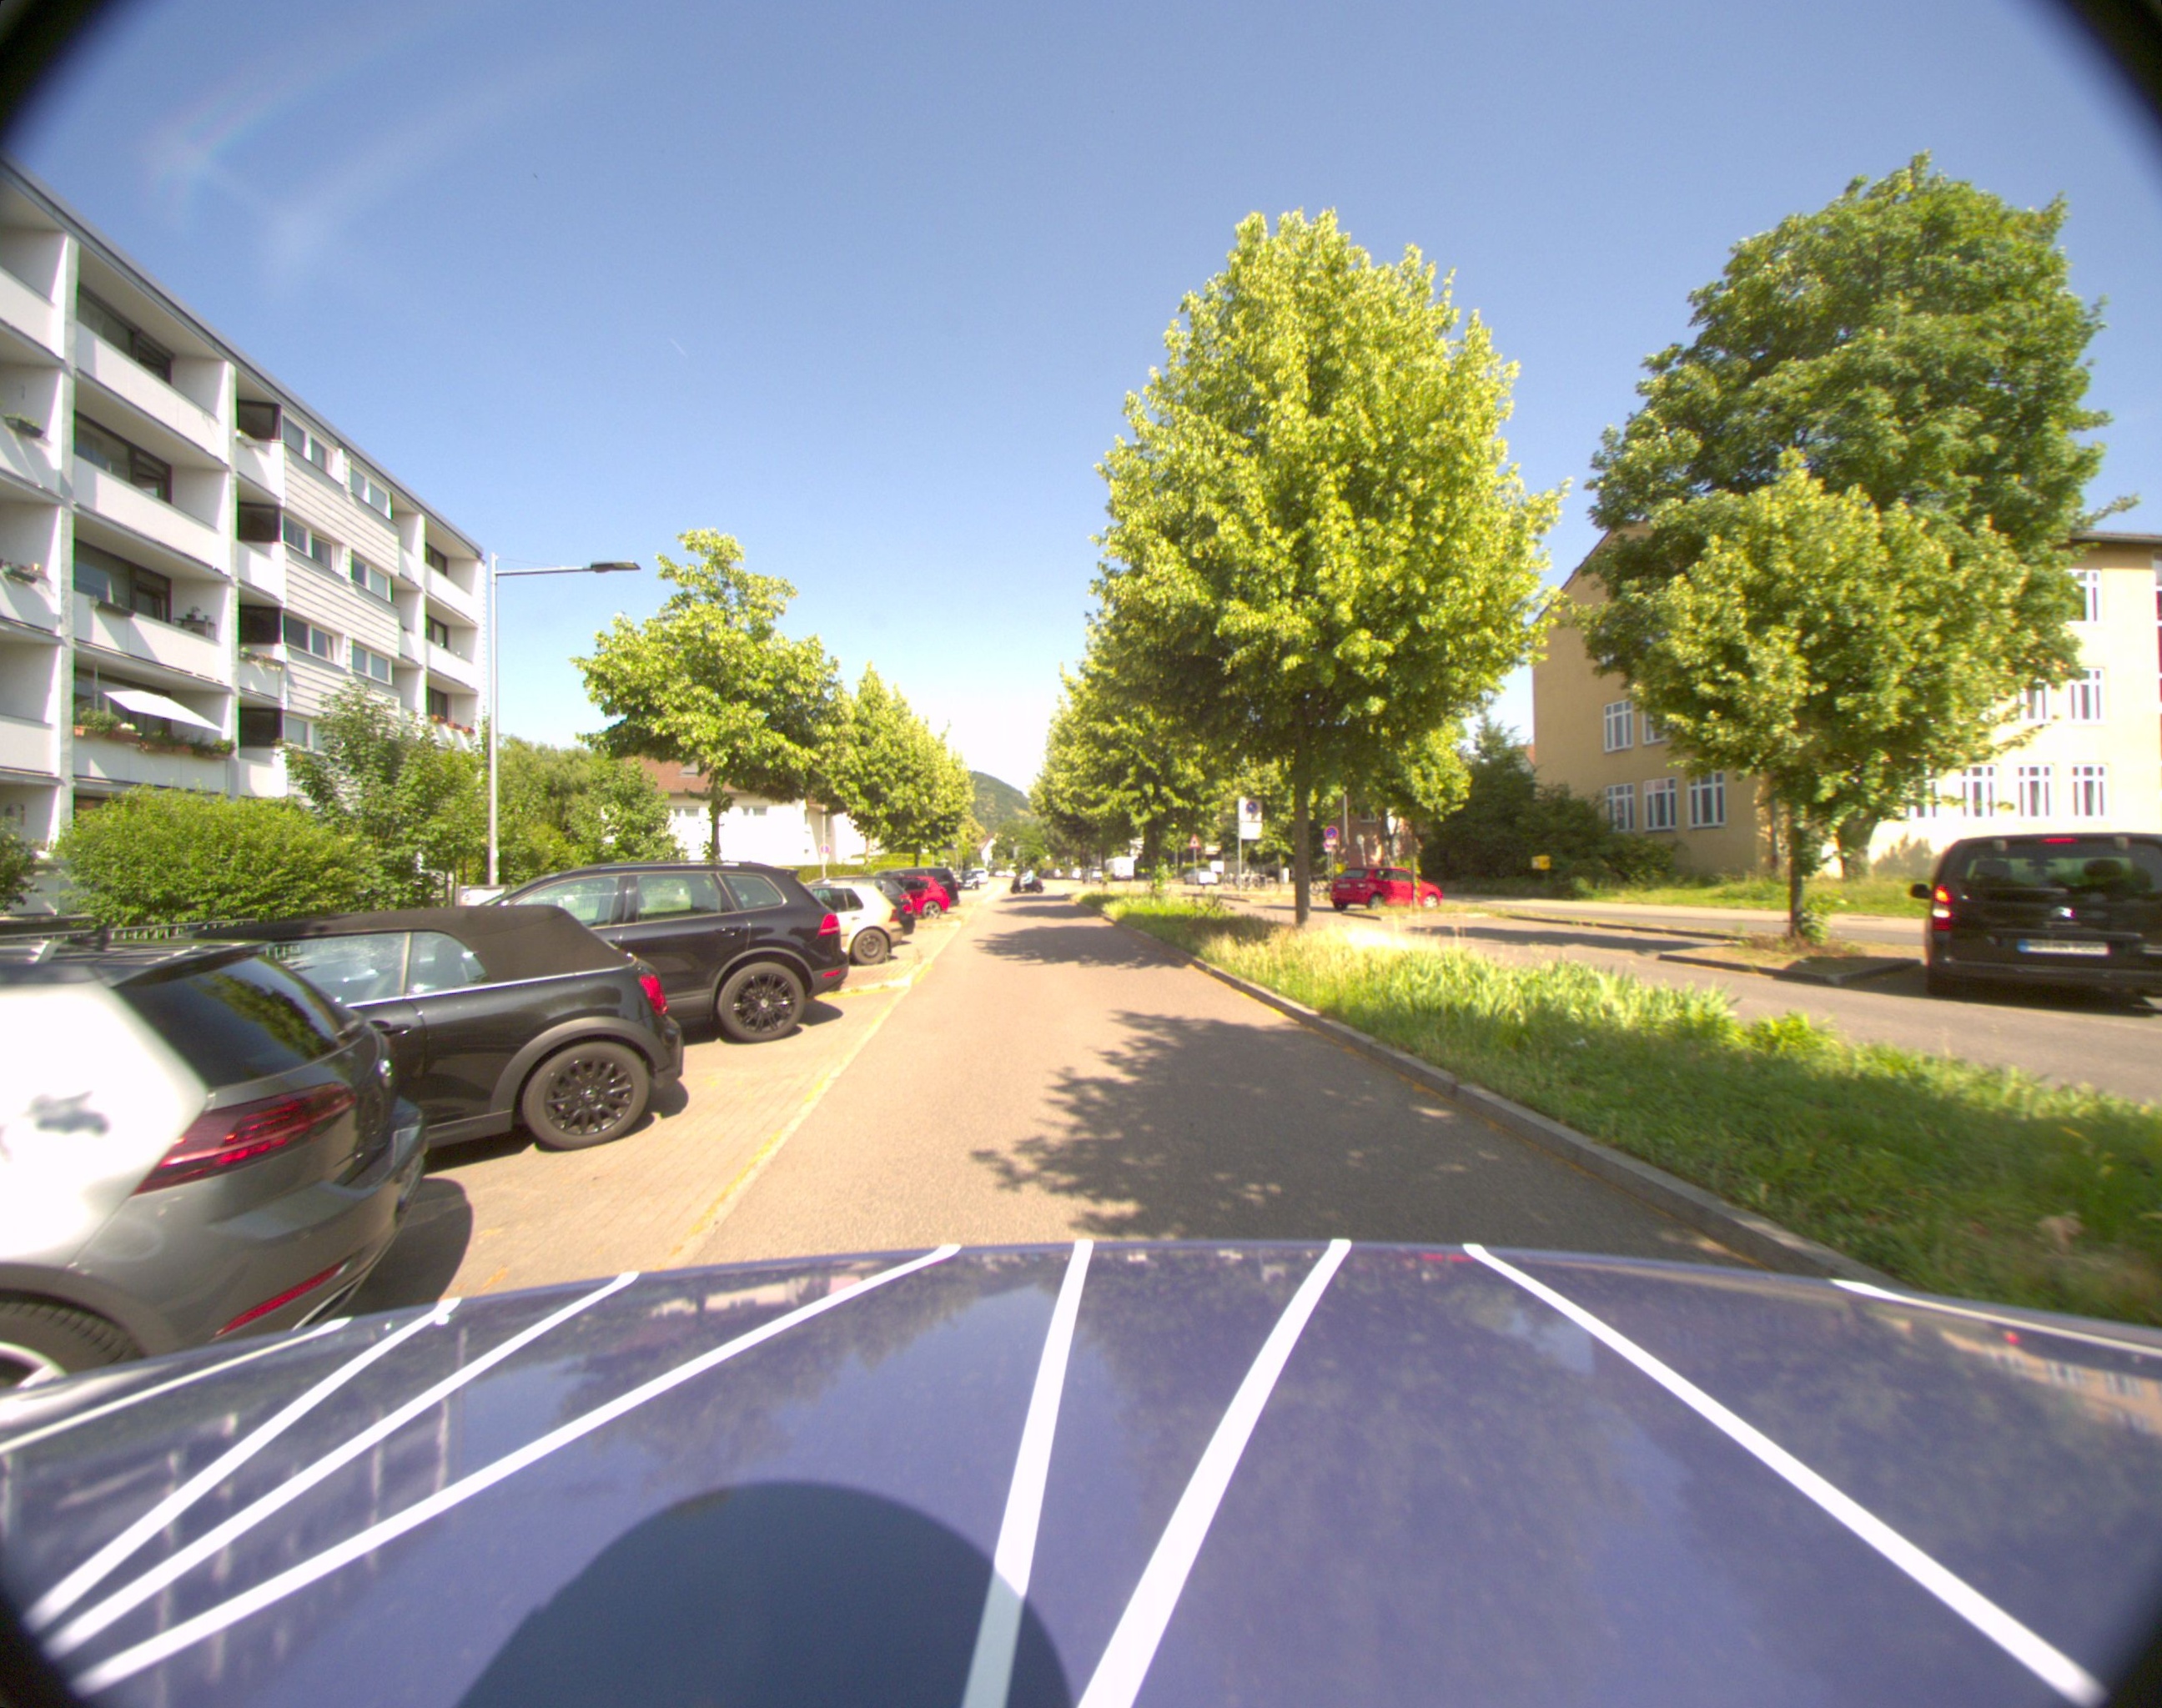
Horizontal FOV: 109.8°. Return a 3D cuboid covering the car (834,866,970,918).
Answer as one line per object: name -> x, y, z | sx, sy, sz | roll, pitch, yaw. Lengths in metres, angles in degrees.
car -> -6.214, 1.262, 26.598 | 4.128, 1.630, 2.039 | -1, -1, -38

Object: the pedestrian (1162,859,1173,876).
pedestrian -> 8.745, 1.354, 77.008 | 0.977, 1.769, 0.725 | -1, 0, -9

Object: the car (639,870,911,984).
car -> -4.999, 1.131, 12.909 | 4.003, 1.630, 1.750 | -1, 0, -17

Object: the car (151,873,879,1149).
car -> -4.481, 1.056, 6.937 | 4.755, 1.650, 1.748 | -1, -1, -35

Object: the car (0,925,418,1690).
car -> -4.276, 1.096, 1.571 | 4.124, 1.521, 1.995 | -1, -1, -34

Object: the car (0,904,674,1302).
car -> -4.618, 1.128, 4.120 | 4.007, 1.465, 1.765 | -1, -1, -37

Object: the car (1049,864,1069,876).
car -> -3.217, 2.309, 109.261 | 1.848, 1.753, 4.580 | 0, -2, -14

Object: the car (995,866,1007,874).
car -> -16.822, 3.409, 160.068 | 2.001, 1.608, 3.996 | -1, -1, -14

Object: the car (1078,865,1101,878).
car -> 1.005, 2.132, 93.379 | 1.726, 1.549, 4.668 | 0, -2, -13

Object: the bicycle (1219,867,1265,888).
bicycle -> 9.687, 1.414, 45.747 | 2.553, 1.248, 0.739 | 0, -1, -8

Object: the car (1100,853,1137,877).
car -> 3.994, 1.239, 81.958 | 2.097, 2.481, 5.945 | 0, -1, -16

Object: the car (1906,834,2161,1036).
car -> 10.861, 0.761, 8.610 | 4.197, 1.805, 1.999 | 1, -2, -43

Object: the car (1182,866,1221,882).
car -> 9.625, 1.596, 60.995 | 1.726, 1.259, 3.996 | 0, -2, -13

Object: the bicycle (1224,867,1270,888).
bicycle -> 9.766, 1.388, 44.685 | 2.553, 1.231, 0.739 | 0, -1, -8

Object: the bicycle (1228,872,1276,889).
bicycle -> 9.818, 1.524, 43.625 | 2.553, 0.981, 0.739 | 0, -1, -8

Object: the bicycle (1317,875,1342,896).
bicycle -> 11.125, 1.404, 34.064 | 0.522, 0.898, 1.269 | 0, 0, -10

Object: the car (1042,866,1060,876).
car -> -4.522, 2.627, 114.414 | 1.848, 1.448, 4.189 | 0, -2, -14

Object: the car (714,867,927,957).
car -> -5.444, 1.134, 15.919 | 4.005, 1.630, 1.749 | -1, -1, -27

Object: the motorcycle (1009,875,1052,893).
motorcycle -> -2.913, 1.706, 43.889 | 2.230, 0.987, 0.927 | -1, 0, 16

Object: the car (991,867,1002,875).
car -> -18.541, 3.770, 166.812 | 2.001, 1.674, 3.996 | -1, -1, -14

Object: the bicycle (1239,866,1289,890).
bicycle -> 9.929, 1.306, 41.224 | 2.552, 1.249, 0.739 | -1, 0, -8

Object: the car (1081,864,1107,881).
car -> 1.158, 1.705, 71.535 | 1.747, 1.538, 4.070 | 0, -1, -9

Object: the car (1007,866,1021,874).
car -> -13.053, 3.140, 147.988 | 1.961, 1.543, 3.995 | -1, 0, -14

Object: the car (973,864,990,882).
car -> -11.005, 2.041, 84.128 | 1.768, 1.816, 4.595 | -3, 0, -8

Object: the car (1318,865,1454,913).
car -> 10.069, 1.120, 25.104 | 4.006, 1.457, 1.996 | 1, -2, -26

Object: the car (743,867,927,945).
car -> -5.908, 1.166, 18.221 | 4.005, 1.630, 1.797 | -1, -1, -24

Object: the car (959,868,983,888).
car -> -8.462, 1.863, 58.857 | 1.621, 1.382, 3.998 | -3, 0, -6

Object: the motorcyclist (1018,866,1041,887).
motorcyclist -> -2.945, 1.286, 43.906 | 1.060, 1.214, 0.905 | -1, 0, 16

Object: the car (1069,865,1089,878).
car -> -0.250, 2.281, 98.598 | 1.726, 1.549, 3.996 | 0, -1, -13

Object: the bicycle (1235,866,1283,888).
bicycle -> 9.893, 1.280, 42.283 | 2.523, 1.248, 0.739 | 0, -1, -8

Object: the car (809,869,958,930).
car -> -6.012, 1.325, 23.410 | 4.008, 1.630, 1.875 | -1, 0, -43

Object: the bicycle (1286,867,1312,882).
bicycle -> 15.595, 1.456, 54.437 | 1.711, 1.074, 0.379 | -2, -1, 36
